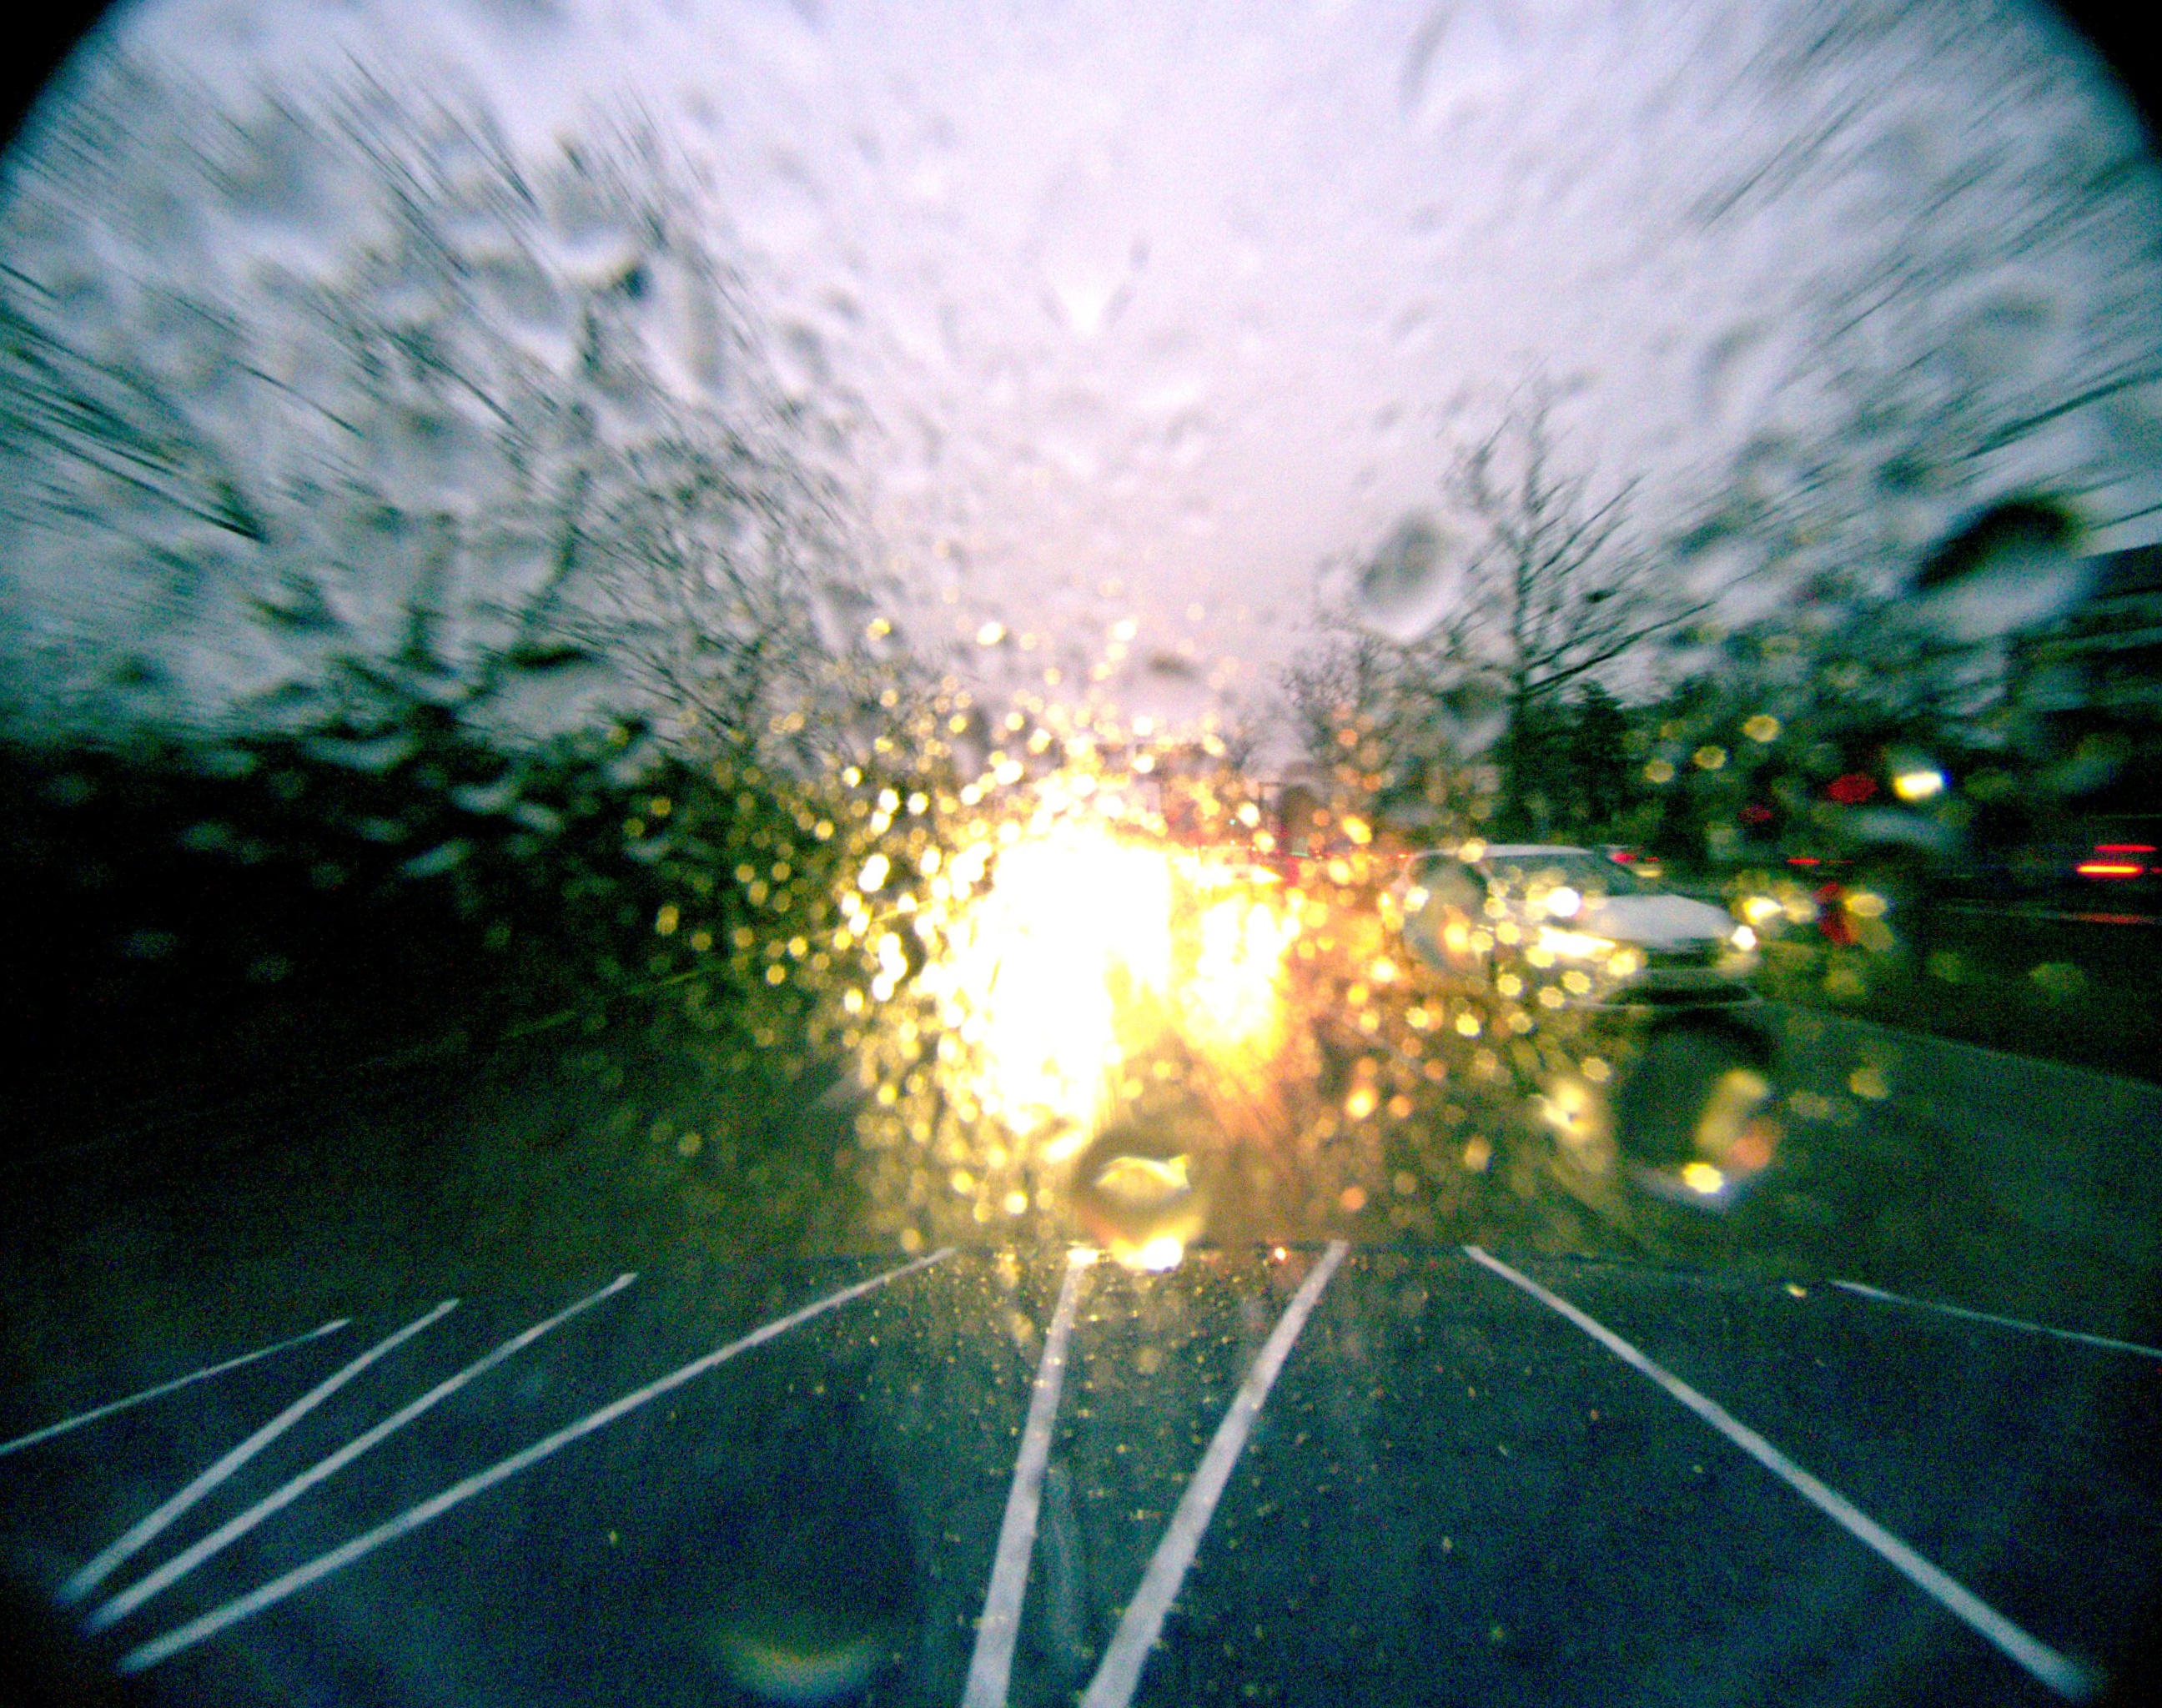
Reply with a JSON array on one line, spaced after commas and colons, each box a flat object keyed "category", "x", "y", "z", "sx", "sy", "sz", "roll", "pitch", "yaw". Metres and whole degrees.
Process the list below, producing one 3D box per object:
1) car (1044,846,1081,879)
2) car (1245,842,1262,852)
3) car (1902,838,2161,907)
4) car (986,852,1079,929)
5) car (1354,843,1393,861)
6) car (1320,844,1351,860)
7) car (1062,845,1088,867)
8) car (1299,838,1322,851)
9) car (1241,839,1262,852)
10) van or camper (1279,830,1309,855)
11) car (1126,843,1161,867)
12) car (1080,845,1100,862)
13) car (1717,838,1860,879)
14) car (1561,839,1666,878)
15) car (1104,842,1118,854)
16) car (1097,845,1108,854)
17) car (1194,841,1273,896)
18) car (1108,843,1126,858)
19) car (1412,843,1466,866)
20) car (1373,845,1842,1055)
[{"category": "car", "x": -0.932, "y": 0.414, "z": 39.287, "sx": 1.728, "sy": 1.573, "sz": 3.790, "roll": -1, "pitch": 1, "yaw": 1}, {"category": "car", "x": 23.264, "y": -0.963, "z": 102.444, "sx": 1.428, "sy": 1.266, "sz": 3.999, "roll": -1, "pitch": 1, "yaw": 1}, {"category": "car", "x": 21.425, "y": 0.329, "z": 17.092, "sx": 1.653, "sy": 1.346, "sz": 3.956, "roll": -1, "pitch": 1, "yaw": 1}, {"category": "car", "x": -1.021, "y": 0.760, "z": 17.930, "sx": 1.830, "sy": 1.524, "sz": 3.999, "roll": -1, "pitch": 1, "yaw": 1}, {"category": "car", "x": 22.262, "y": -0.201, "z": 57.966, "sx": 1.541, "sy": 1.304, "sz": 3.999, "roll": -1, "pitch": 1, "yaw": 1}, {"category": "car", "x": 22.956, "y": -0.198, "z": 68.641, "sx": 1.541, "sy": 1.285, "sz": 3.999, "roll": -1, "pitch": 1, "yaw": 1}, {"category": "car", "x": -0.364, "y": 0.095, "z": 53.831, "sx": 1.728, "sy": 1.456, "sz": 3.790, "roll": -1, "pitch": 1, "yaw": 1}, {"category": "car", "x": 26.441, "y": -1.082, "z": 87.630, "sx": 1.573, "sy": 1.397, "sz": 4.000, "roll": -2, "pitch": 1, "yaw": 2}, {"category": "car", "x": 20.074, "y": -1.010, "z": 89.399, "sx": 1.573, "sy": 1.495, "sz": 3.999, "roll": -2, "pitch": 1, "yaw": 1}, {"category": "van or camper", "x": 22.885, "y": -1.234, "z": 81.685, "sx": 1.968, "sy": 2.594, "sz": 4.738, "roll": -1, "pitch": 1, "yaw": 1}, {"category": "car", "x": 4.192, "y": 0.053, "z": 51.555, "sx": 2.027, "sy": 1.522, "sz": 4.145, "roll": -1, "pitch": 1, "yaw": 0}, {"category": "car", "x": 0.911, "y": -0.100, "z": 77.704, "sx": 1.852, "sy": 1.610, "sz": 3.950, "roll": -2, "pitch": 1, "yaw": 0}, {"category": "car", "x": 25.321, "y": 0.117, "z": 27.382, "sx": 1.653, "sy": 1.346, "sz": 3.704, "roll": -1, "pitch": 1, "yaw": -1}, {"category": "car", "x": 21.984, "y": 0.136, "z": 31.566, "sx": 1.653, "sy": 1.491, "sz": 3.956, "roll": -1, "pitch": 1, "yaw": 1}, {"category": "car", "x": 4.237, "y": -0.846, "z": 109.200, "sx": 1.852, "sy": 1.610, "sz": 3.950, "roll": -2, "pitch": 1, "yaw": 0}, {"category": "car", "x": 4.052, "y": -0.857, "z": 143.639, "sx": 1.852, "sy": 1.610, "sz": 3.950, "roll": -2, "pitch": 1, "yaw": 0}, {"category": "car", "x": 4.817, "y": 0.399, "z": 24.499, "sx": 1.765, "sy": 1.590, "sz": 4.164, "roll": -1, "pitch": 1, "yaw": 1}, {"category": "car", "x": 4.198, "y": -0.422, "z": 89.215, "sx": 1.852, "sy": 1.610, "sz": 3.950, "roll": -2, "pitch": 1, "yaw": 0}, {"category": "car", "x": 21.963, "y": -0.023, "z": 46.795, "sx": 1.541, "sy": 1.320, "sz": 3.956, "roll": -1, "pitch": 1, "yaw": 1}, {"category": "car", "x": 4.512, "y": 0.656, "z": 7.460, "sx": 1.728, "sy": 1.432, "sz": 4.225, "roll": -1, "pitch": 1, "yaw": 1}]
